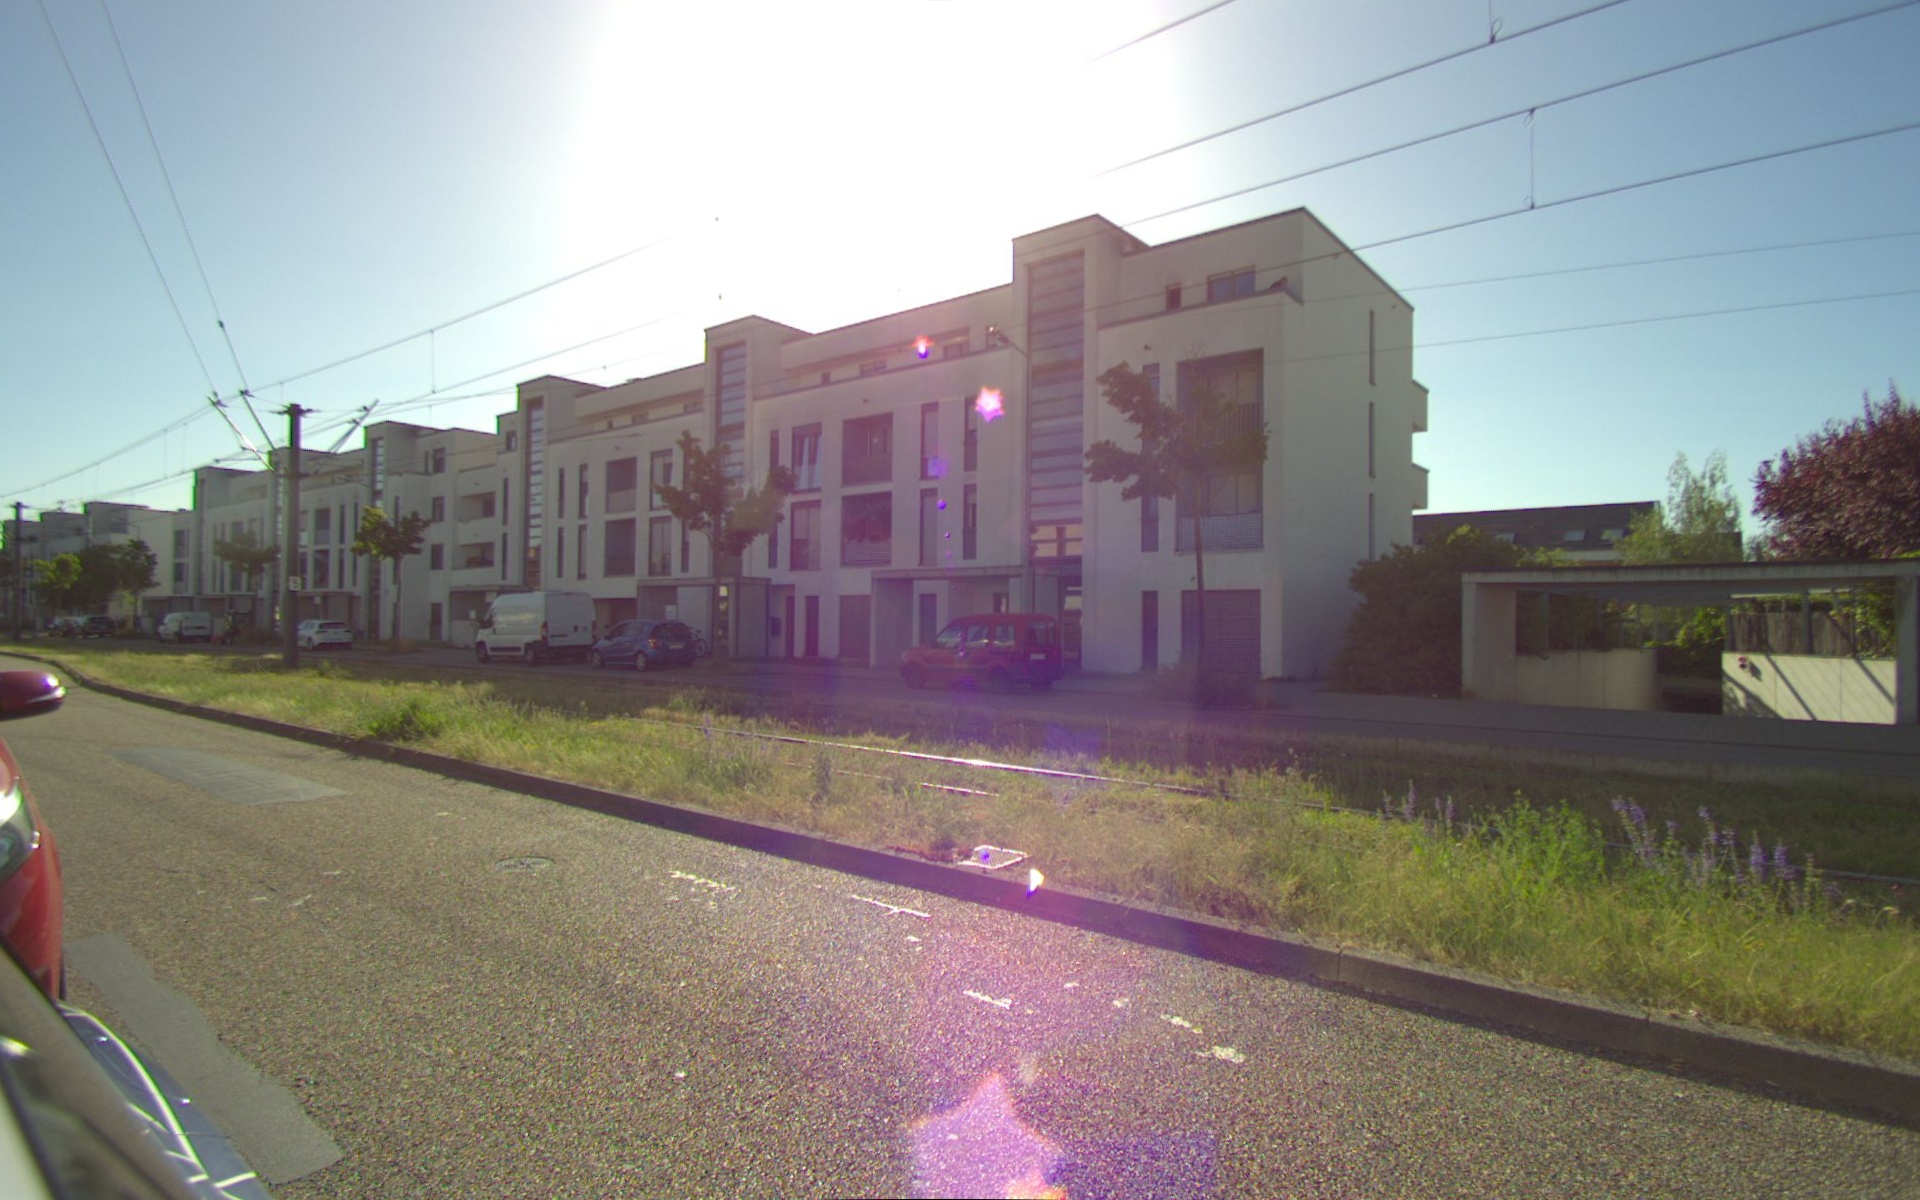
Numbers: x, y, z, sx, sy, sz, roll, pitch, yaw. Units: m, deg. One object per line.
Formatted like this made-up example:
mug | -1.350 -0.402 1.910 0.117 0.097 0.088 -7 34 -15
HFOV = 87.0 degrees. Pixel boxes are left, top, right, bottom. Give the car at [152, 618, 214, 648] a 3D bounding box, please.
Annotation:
car | -47.349 1.968 61.633 4.277 1.693 1.900 -1 0 37

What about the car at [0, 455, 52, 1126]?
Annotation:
car | -4.898 0.557 3.683 4.505 1.868 1.850 -1 0 41

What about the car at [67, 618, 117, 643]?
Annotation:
car | -62.970 2.172 73.414 4.277 1.693 1.900 -1 0 37

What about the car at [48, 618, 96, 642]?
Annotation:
car | -67.515 2.263 76.939 4.277 1.693 1.900 -1 0 37

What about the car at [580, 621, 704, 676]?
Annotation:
car | -9.996 1.452 31.745 3.833 1.556 1.973 -1 0 40

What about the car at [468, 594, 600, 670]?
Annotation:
car | -15.191 1.080 35.950 5.193 2.491 2.197 -1 0 40

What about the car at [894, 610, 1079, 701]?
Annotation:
car | 0.541 1.172 23.023 3.895 1.842 1.972 -1 0 43

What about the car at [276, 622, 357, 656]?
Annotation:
car | -31.131 1.844 48.906 4.277 1.517 1.900 -1 0 37
